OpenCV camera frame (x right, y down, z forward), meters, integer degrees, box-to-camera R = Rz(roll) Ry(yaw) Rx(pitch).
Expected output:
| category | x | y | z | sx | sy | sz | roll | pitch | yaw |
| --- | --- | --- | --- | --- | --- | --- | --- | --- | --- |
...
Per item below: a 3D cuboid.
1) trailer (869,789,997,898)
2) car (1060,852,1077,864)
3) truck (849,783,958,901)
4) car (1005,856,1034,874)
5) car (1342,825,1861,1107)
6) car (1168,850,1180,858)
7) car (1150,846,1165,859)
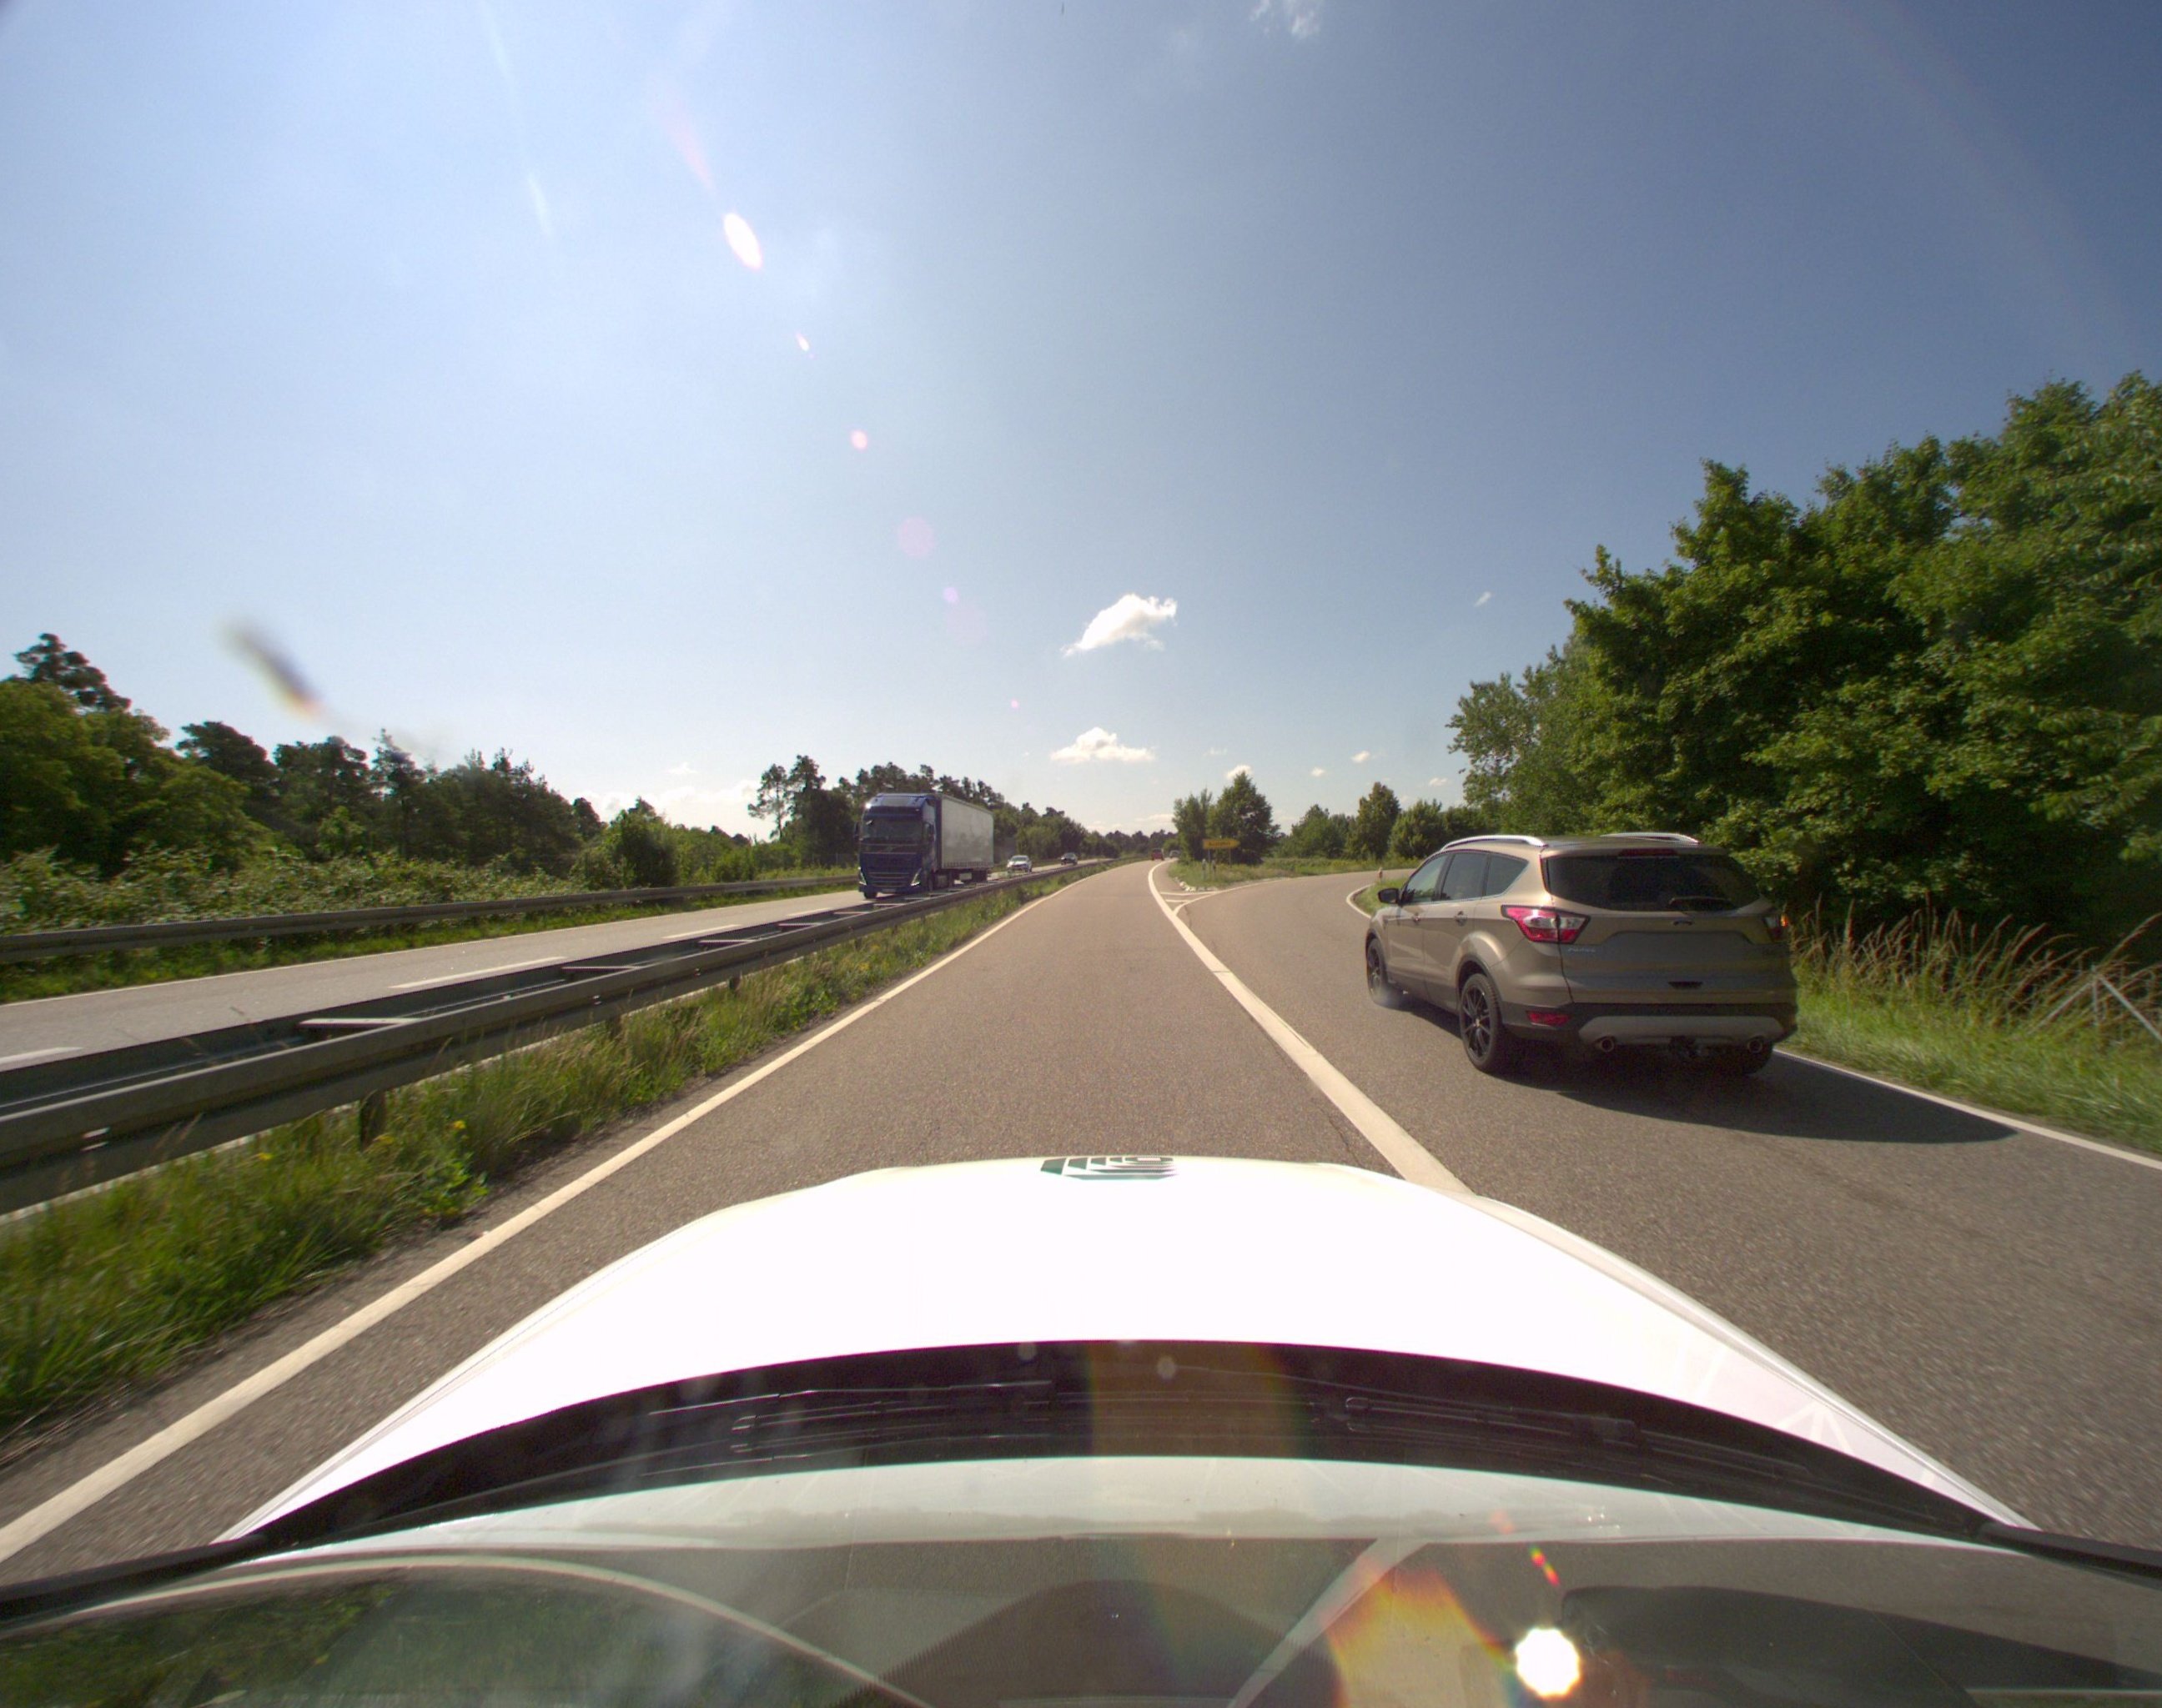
| category | x | y | z | sx | sy | sz | roll | pitch | yaw |
| --- | --- | --- | --- | --- | --- | --- | --- | --- | --- |
| trailer | -6.463 | -0.397 | 38.742 | 2.734 | 4.172 | 14.593 | -1 | 0 | 3 |
| car | -1.568 | 0.524 | 106.401 | 1.747 | 1.501 | 4.580 | -1 | 0 | 4 |
| truck | -6.786 | -0.411 | 31.953 | 2.756 | 4.187 | 5.601 | -1 | 0 | 3 |
| car | -5.378 | 0.929 | 71.677 | 1.786 | 1.444 | 4.612 | -1 | 0 | 4 |
| car | 3.839 | 0.663 | 7.198 | 1.885 | 1.666 | 4.672 | -1 | 0 | 4 |
| car | 17.944 | 0.057 | 157.285 | 1.995 | 1.494 | 4.249 | -1 | -1 | 9 |
| car | 12.412 | -0.197 | 131.504 | 2.065 | 1.993 | 5.125 | -1 | -1 | 10 |
